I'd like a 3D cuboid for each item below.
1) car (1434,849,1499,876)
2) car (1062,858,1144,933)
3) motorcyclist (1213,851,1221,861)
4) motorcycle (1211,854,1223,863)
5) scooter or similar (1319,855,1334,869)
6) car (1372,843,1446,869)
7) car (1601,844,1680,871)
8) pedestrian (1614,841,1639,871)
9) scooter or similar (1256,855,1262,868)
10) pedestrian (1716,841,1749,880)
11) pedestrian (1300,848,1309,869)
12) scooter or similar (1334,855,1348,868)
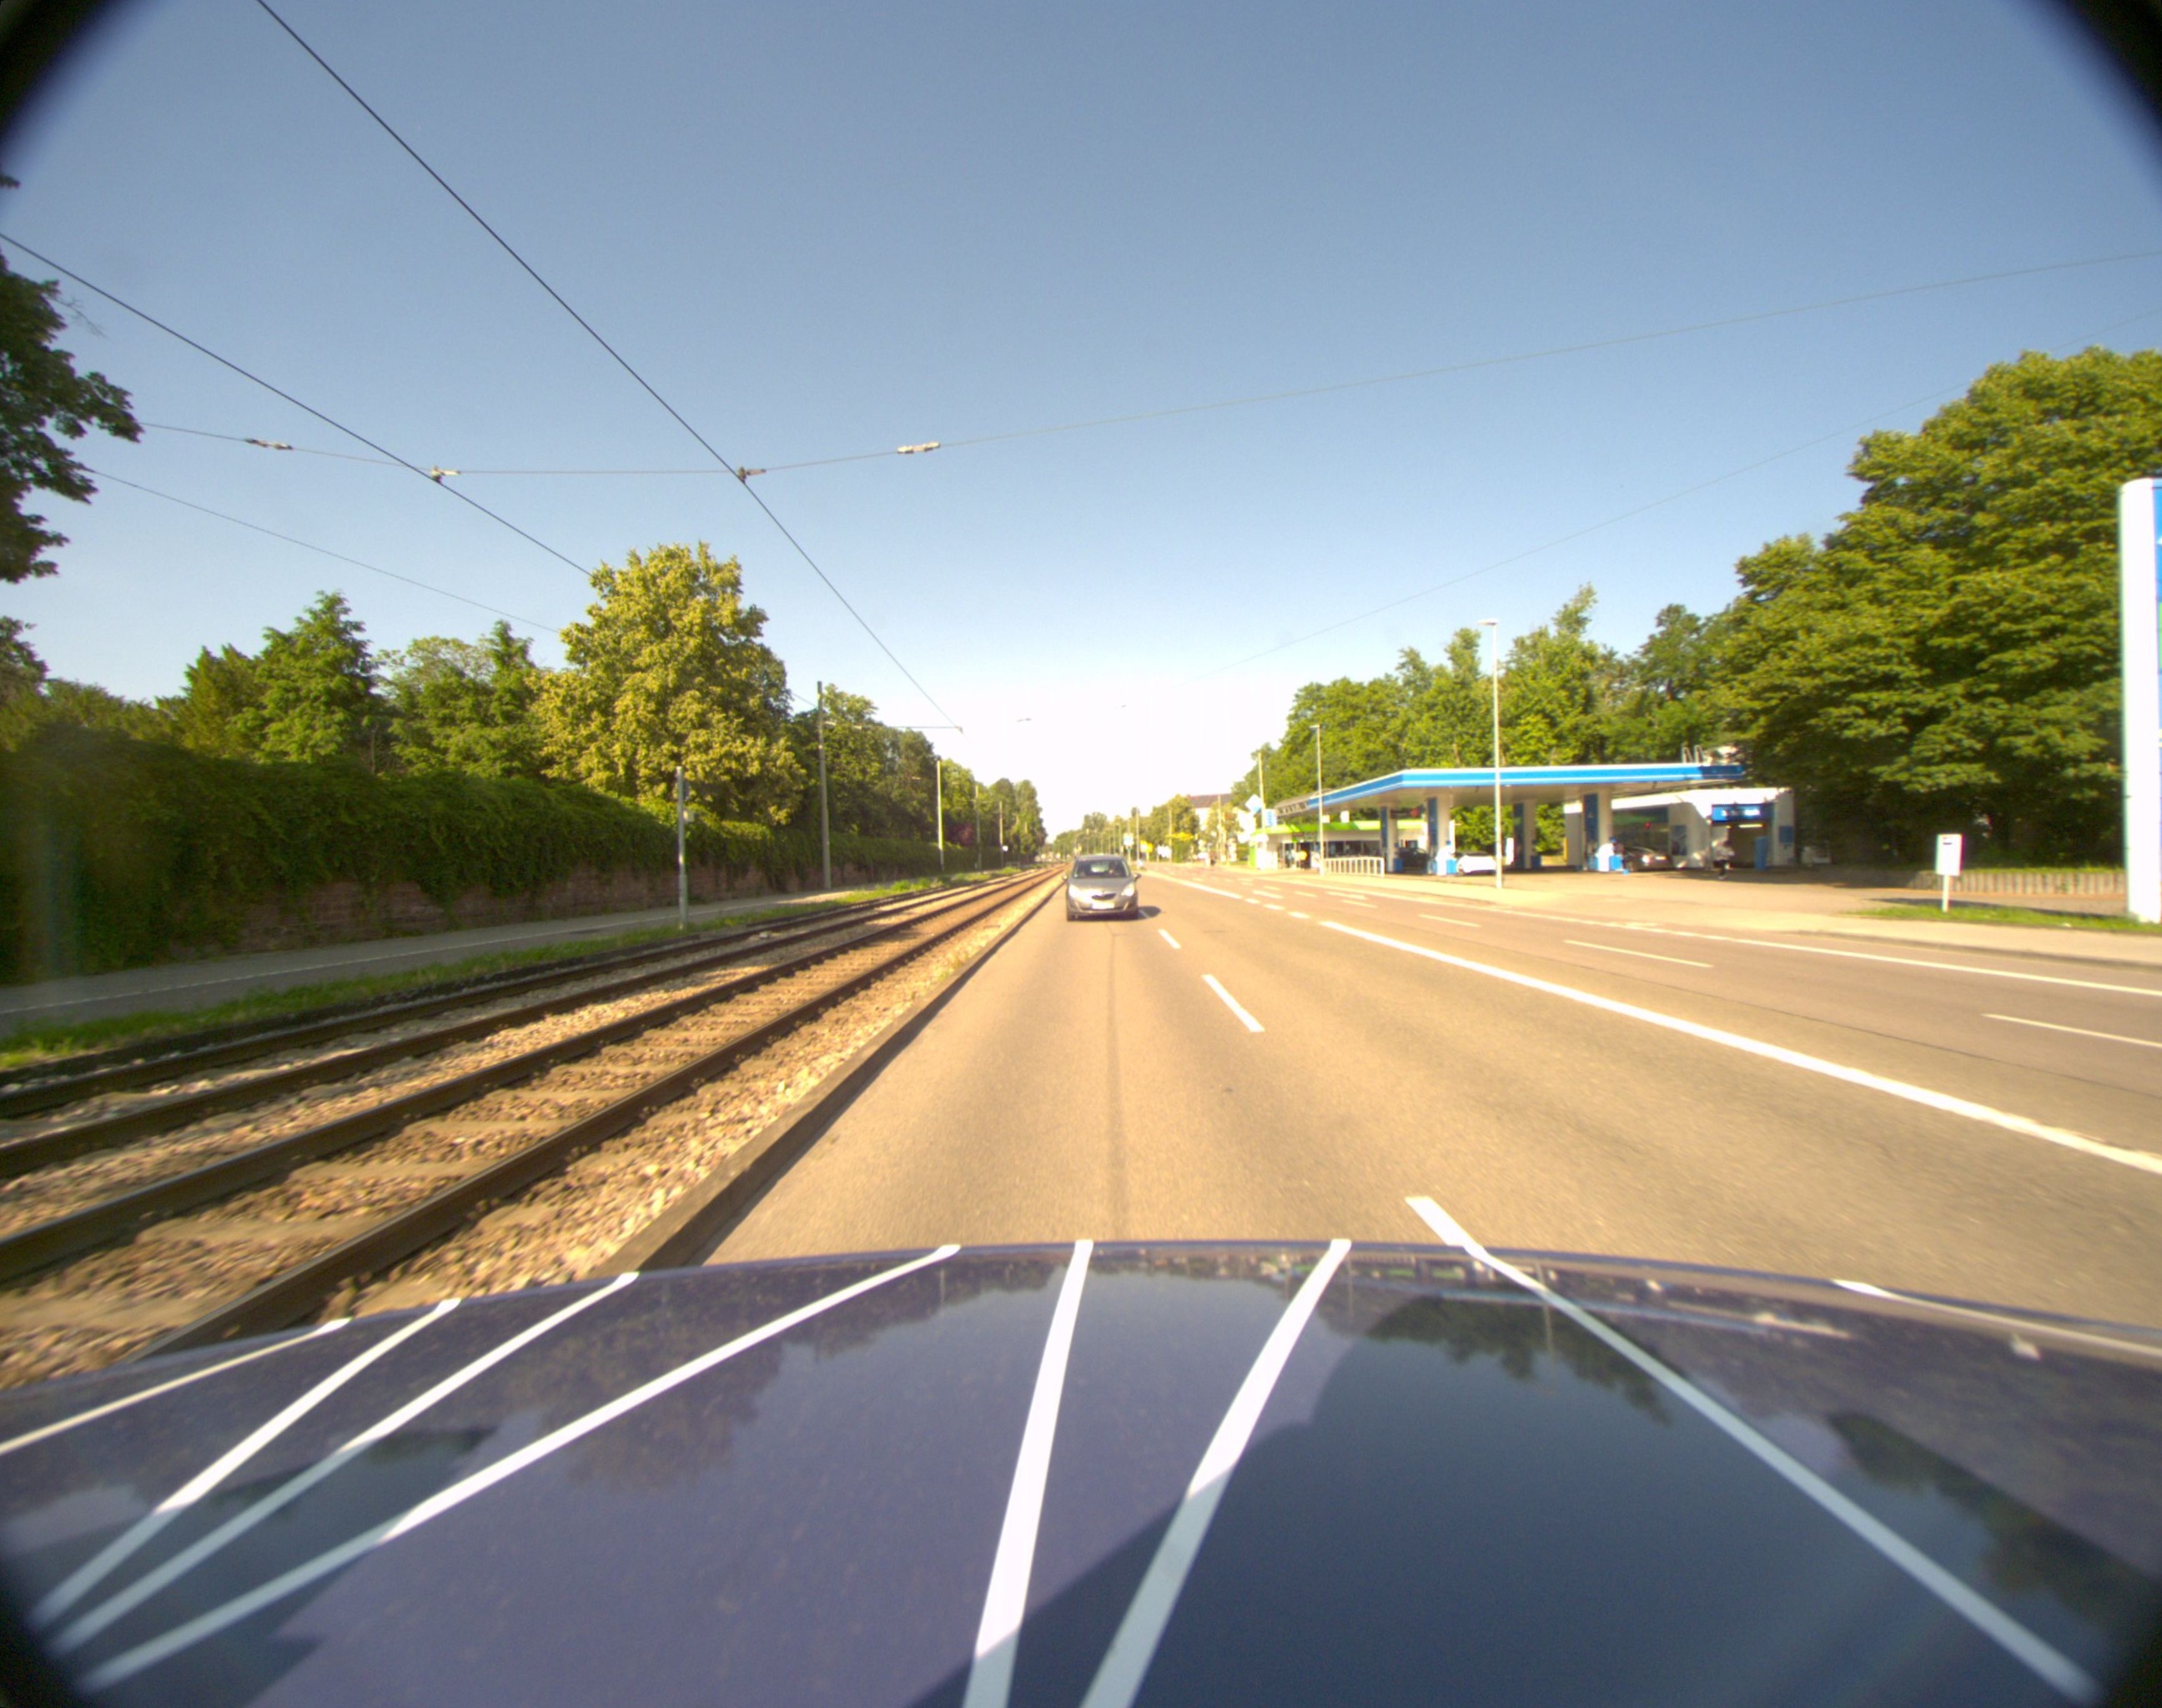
[{"bbox_3d":[22.475,0.448,44.502,1.741,1.482,4.275,-1,0,2],"label":"car"},{"bbox_3d":[0.494,0.907,18.152,1.730,1.574,3.763,-1,0,1],"label":"car"},{"bbox_3d":[18.807,0.263,104.862,0.732,1.380,0.866,-1,0,35],"label":"motorcyclist"},{"bbox_3d":[18.793,0.626,104.829,0.732,1.220,2.268,-1,0,35],"label":"motorcycle"},{"bbox_3d":[20.179,0.641,62.394,1.143,1.110,0.350,-1,0,10],"label":"scooter or similar"},{"bbox_3d":[26.414,0.151,61.319,5.081,1.929,1.858,-1,0,5],"label":"car"},{"bbox_3d":[31.822,0.192,43.393,1.740,1.437,4.001,-1,0,4],"label":"car"},{"bbox_3d":[30.807,0.107,42.942,0.818,1.680,0.795,-1,0,1],"label":"pedestrian"},{"bbox_3d":[17.304,0.725,73.853,0.350,1.154,1.144,-1,0,2],"label":"scooter or similar"},{"bbox_3d":[28.923,0.283,33.763,0.822,1.703,1.068,-1,0,23],"label":"pedestrian"},{"bbox_3d":[19.179,0.379,65.299,0.603,1.721,0.664,-1,0,25],"label":"pedestrian"},{"bbox_3d":[21.296,0.624,62.281,1.031,1.103,0.350,-1,0,8],"label":"scooter or similar"}]
